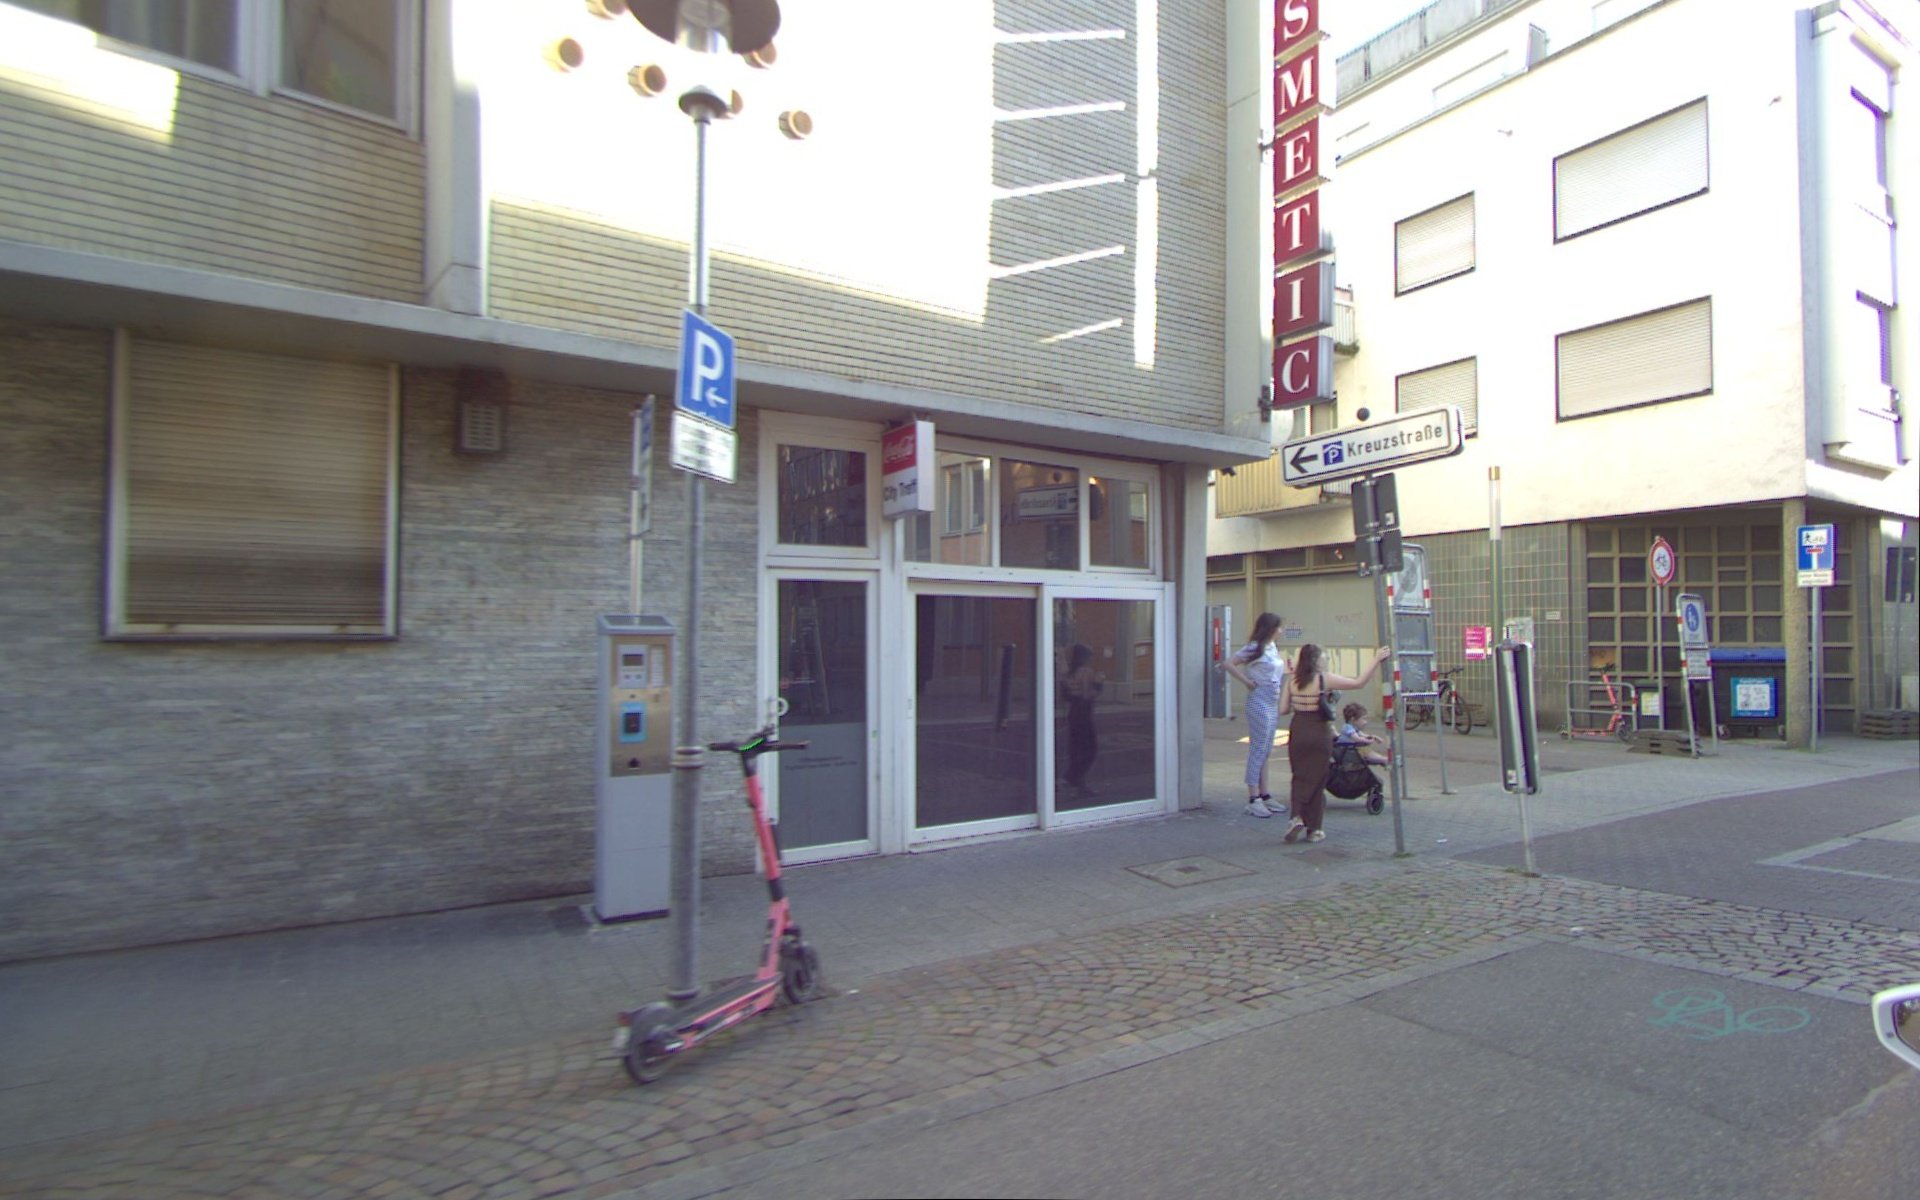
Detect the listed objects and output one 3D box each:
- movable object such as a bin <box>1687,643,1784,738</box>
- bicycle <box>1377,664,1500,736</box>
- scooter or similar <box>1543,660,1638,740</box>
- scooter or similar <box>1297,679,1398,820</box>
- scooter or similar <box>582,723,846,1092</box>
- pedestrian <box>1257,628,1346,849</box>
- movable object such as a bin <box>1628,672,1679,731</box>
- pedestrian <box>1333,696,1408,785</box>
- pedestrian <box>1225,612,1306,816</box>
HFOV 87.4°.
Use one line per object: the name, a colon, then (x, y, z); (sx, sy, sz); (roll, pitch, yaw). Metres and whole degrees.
movable object such as a bin: (12.537, 1.446, 16.270); (0.915, 1.438, 0.885); (1, -1, 11)
bicycle: (8.372, 1.725, 17.643); (0.709, 1.173, 1.863); (1, -3, -29)
scooter or similar: (10.027, 1.566, 16.001); (0.474, 1.222, 1.152); (1, -3, -31)
scooter or similar: (3.606, 1.352, 9.327); (0.778, 1.177, 0.634); (1, -1, 29)
scooter or similar: (-0.970, 1.168, 4.179); (0.406, 1.214, 1.119); (-1, -3, 29)
pedestrian: (2.659, 1.047, 7.854); (0.634, 1.647, 0.457); (0, 0, 17)
movable object such as a bin: (11.616, 1.691, 16.834); (0.526, 0.914, 0.526); (1, -1, 11)
pedestrian: (3.767, 1.269, 9.201); (0.573, 0.724, 0.646); (-1, -2, 28)
pedestrian: (2.713, 0.991, 8.951); (0.542, 1.761, 0.448); (0, -1, -9)
